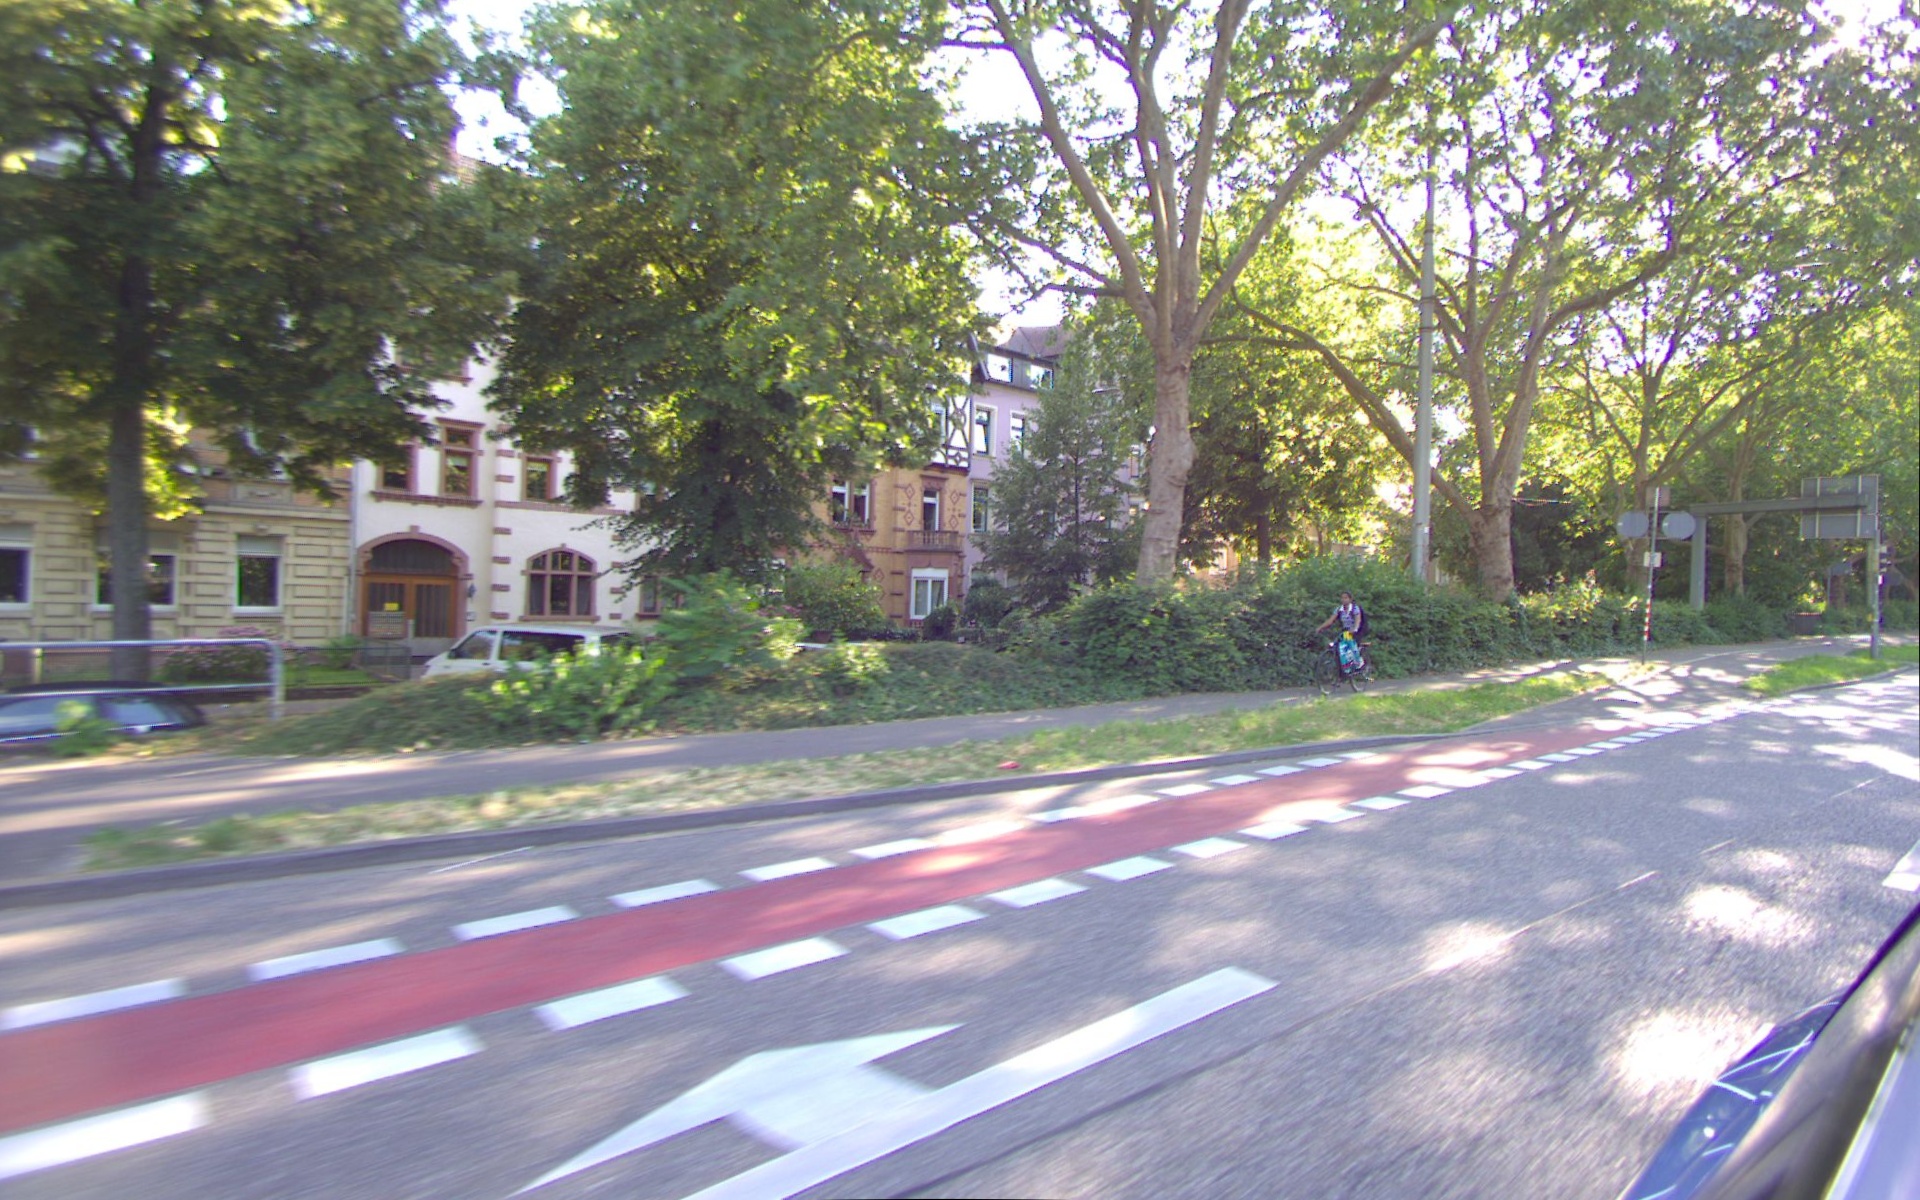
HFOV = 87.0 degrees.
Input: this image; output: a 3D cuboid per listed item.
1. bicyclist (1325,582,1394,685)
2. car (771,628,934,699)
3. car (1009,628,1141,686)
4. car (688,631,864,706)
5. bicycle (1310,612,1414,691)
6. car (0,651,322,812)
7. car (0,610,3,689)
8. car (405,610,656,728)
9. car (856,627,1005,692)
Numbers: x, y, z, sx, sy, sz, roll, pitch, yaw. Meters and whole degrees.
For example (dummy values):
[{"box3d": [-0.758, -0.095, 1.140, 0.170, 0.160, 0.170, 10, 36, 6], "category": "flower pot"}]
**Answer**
[{"box3d": [6.121, 0.492, 15.517, 0.639, 1.532, 0.767, 1, 0, -41], "category": "bicyclist"}, {"box3d": [-2.863, 1.653, 27.155, 3.947, 1.529, 1.790, 3, 1, 18], "category": "car"}, {"box3d": [3.730, 1.820, 32.789, 3.947, 1.529, 1.790, 3, 1, 18], "category": "car"}, {"box3d": [-4.471, 1.612, 24.736, 3.871, 1.470, 1.680, 3, 1, 16], "category": "car"}, {"box3d": [6.218, 0.754, 15.621, 1.769, 1.121, 0.767, 0, 1, -41], "category": "bicycle"}, {"box3d": [-9.165, 1.322, 10.632, 3.932, 1.325, 1.796, -1, 1, -42], "category": "car"}, {"box3d": [-21.009, 1.068, 20.882, 1.770, 1.541, 3.570, 0, 2, -43], "category": "car"}, {"box3d": [-8.784, 1.329, 20.764, 4.620, 1.990, 1.862, 3, 1, 18], "category": "car"}, {"box3d": [-0.835, 1.680, 29.362, 3.947, 1.529, 1.790, 3, 1, 18], "category": "car"}]
